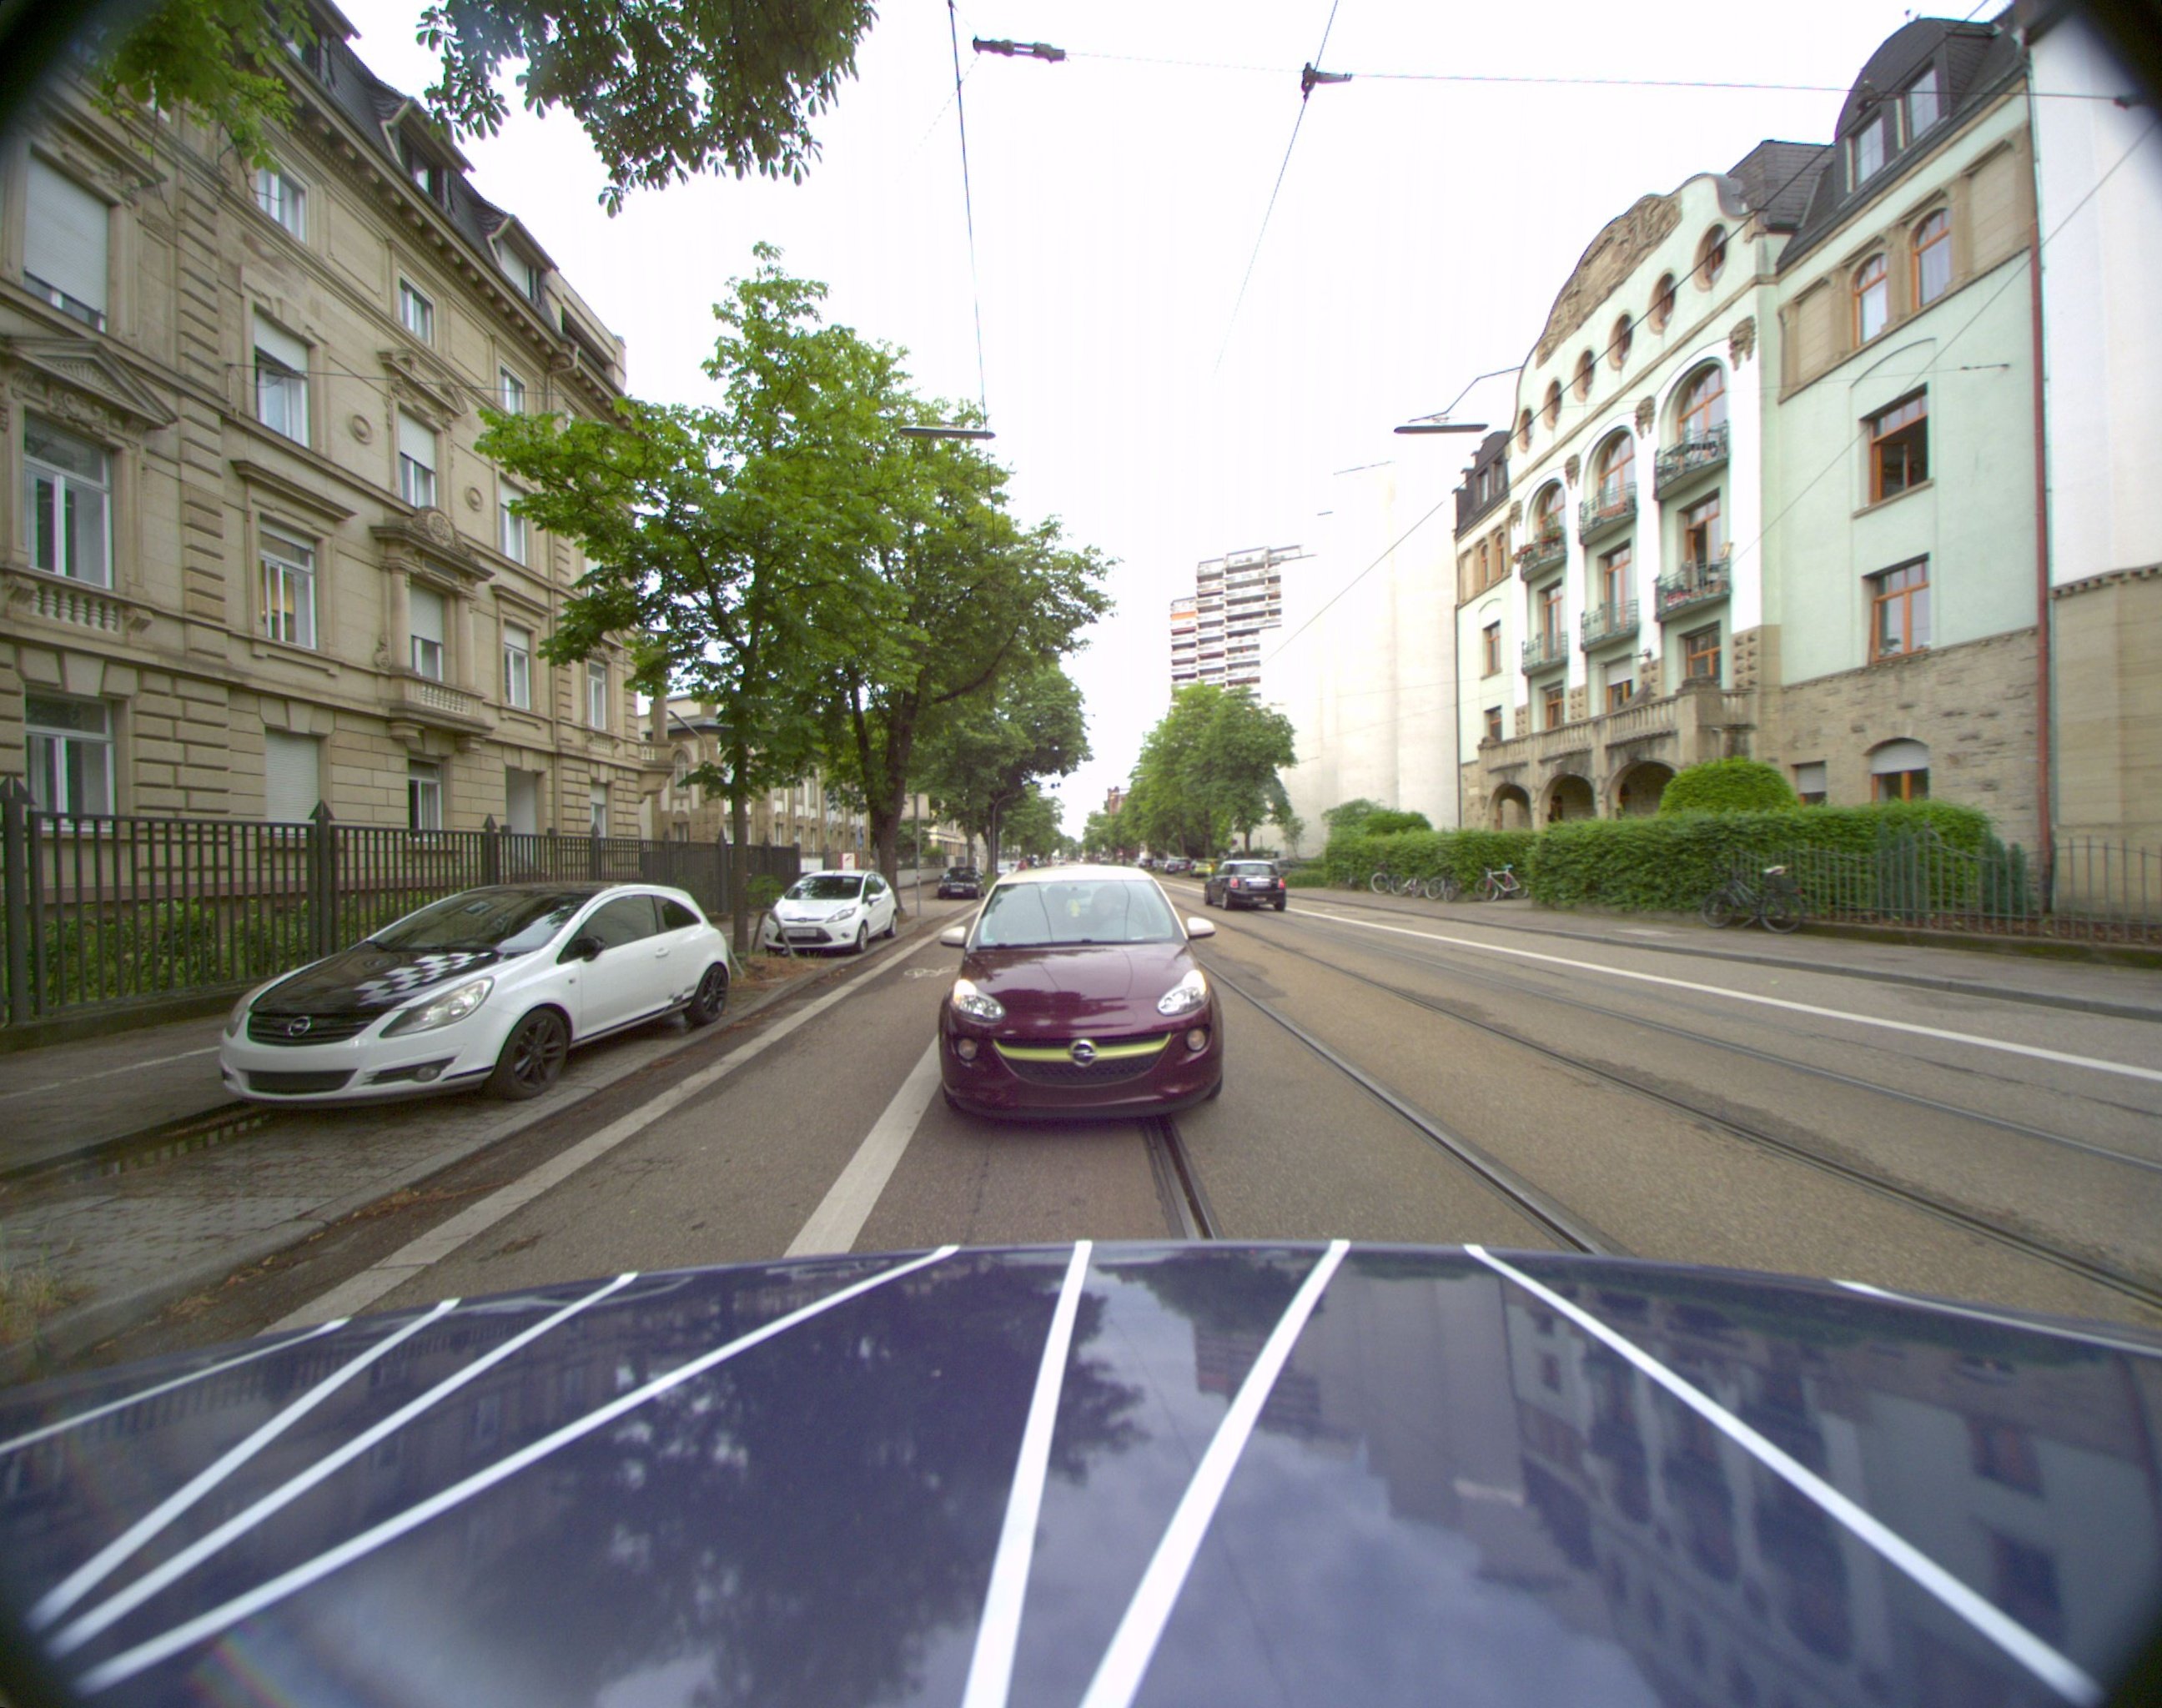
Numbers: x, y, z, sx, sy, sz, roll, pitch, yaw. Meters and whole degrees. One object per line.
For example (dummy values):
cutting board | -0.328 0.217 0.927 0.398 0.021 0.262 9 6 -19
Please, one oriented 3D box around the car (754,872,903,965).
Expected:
car | -4.642 1.118 14.529 1.631 1.427 3.764 1 0 -1

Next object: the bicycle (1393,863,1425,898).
bicycle | 10.667 0.838 24.744 0.360 1.077 1.546 -1 0 -1

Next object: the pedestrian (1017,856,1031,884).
pedestrian | -3.162 0.860 42.115 0.684 1.541 0.704 -1 1 -1

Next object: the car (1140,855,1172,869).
car | 9.085 0.936 92.074 4.008 1.611 1.690 -1 0 -44

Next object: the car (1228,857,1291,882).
car | 10.810 0.925 45.910 4.008 1.395 1.690 -1 0 -41

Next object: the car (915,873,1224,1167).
car | -0.064 0.946 5.988 1.606 1.427 3.776 -2 0 0

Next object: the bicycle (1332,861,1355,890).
bicycle | 10.467 0.846 30.316 0.360 1.077 1.546 -1 0 -1

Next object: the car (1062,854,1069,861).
car | -4.878 1.018 236.142 1.998 2.002 4.000 -2 1 1

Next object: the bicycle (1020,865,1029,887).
bicycle | -3.140 1.209 42.337 0.414 1.197 1.706 -1 0 -1

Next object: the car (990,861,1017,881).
car | -5.599 1.214 55.490 1.606 1.362 3.836 1 0 -1

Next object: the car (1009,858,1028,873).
car | -6.147 1.134 75.252 1.606 1.362 3.836 1 0 -1

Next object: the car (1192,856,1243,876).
car | 10.117 0.863 56.069 4.008 1.386 1.690 -1 0 -44

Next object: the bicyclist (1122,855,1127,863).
bicyclist | 6.588 0.804 115.774 0.752 1.247 0.875 -1 0 -1

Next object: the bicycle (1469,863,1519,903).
bicycle | 11.670 0.815 21.470 1.205 1.077 0.300 -3 0 1

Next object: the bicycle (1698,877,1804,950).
bicycle | 10.981 0.950 12.519 0.360 1.077 1.546 -1 0 -1

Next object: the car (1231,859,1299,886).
car | 10.393 1.011 42.735 4.008 1.395 1.690 -1 0 -41

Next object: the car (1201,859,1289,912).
car | 4.672 0.864 22.132 1.613 1.414 3.485 0 0 -4

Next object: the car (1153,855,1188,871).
car | 9.703 0.934 82.254 4.008 1.611 1.690 -1 0 -44

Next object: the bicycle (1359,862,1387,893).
bicycle | 10.600 0.829 27.614 0.360 1.077 1.546 -1 0 -1

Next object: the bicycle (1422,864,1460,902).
bicycle | 10.698 0.838 22.598 0.360 1.077 1.546 -1 0 -1

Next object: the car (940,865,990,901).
car | -4.976 1.219 33.047 1.606 1.362 3.836 1 0 -1

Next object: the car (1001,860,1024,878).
car | -5.636 1.233 62.833 1.606 1.416 3.836 1 0 -1

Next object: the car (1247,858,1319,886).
car | 10.642 0.916 39.906 4.008 1.395 1.690 -1 0 -41

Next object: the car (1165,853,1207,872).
car | 9.510 0.751 68.831 4.008 1.611 1.690 -1 0 -44

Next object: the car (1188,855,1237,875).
car | 10.274 0.835 59.122 4.008 1.434 1.690 -1 0 -44

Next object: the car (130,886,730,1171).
car | -4.532 1.063 6.156 1.606 1.427 3.776 1 0 0
